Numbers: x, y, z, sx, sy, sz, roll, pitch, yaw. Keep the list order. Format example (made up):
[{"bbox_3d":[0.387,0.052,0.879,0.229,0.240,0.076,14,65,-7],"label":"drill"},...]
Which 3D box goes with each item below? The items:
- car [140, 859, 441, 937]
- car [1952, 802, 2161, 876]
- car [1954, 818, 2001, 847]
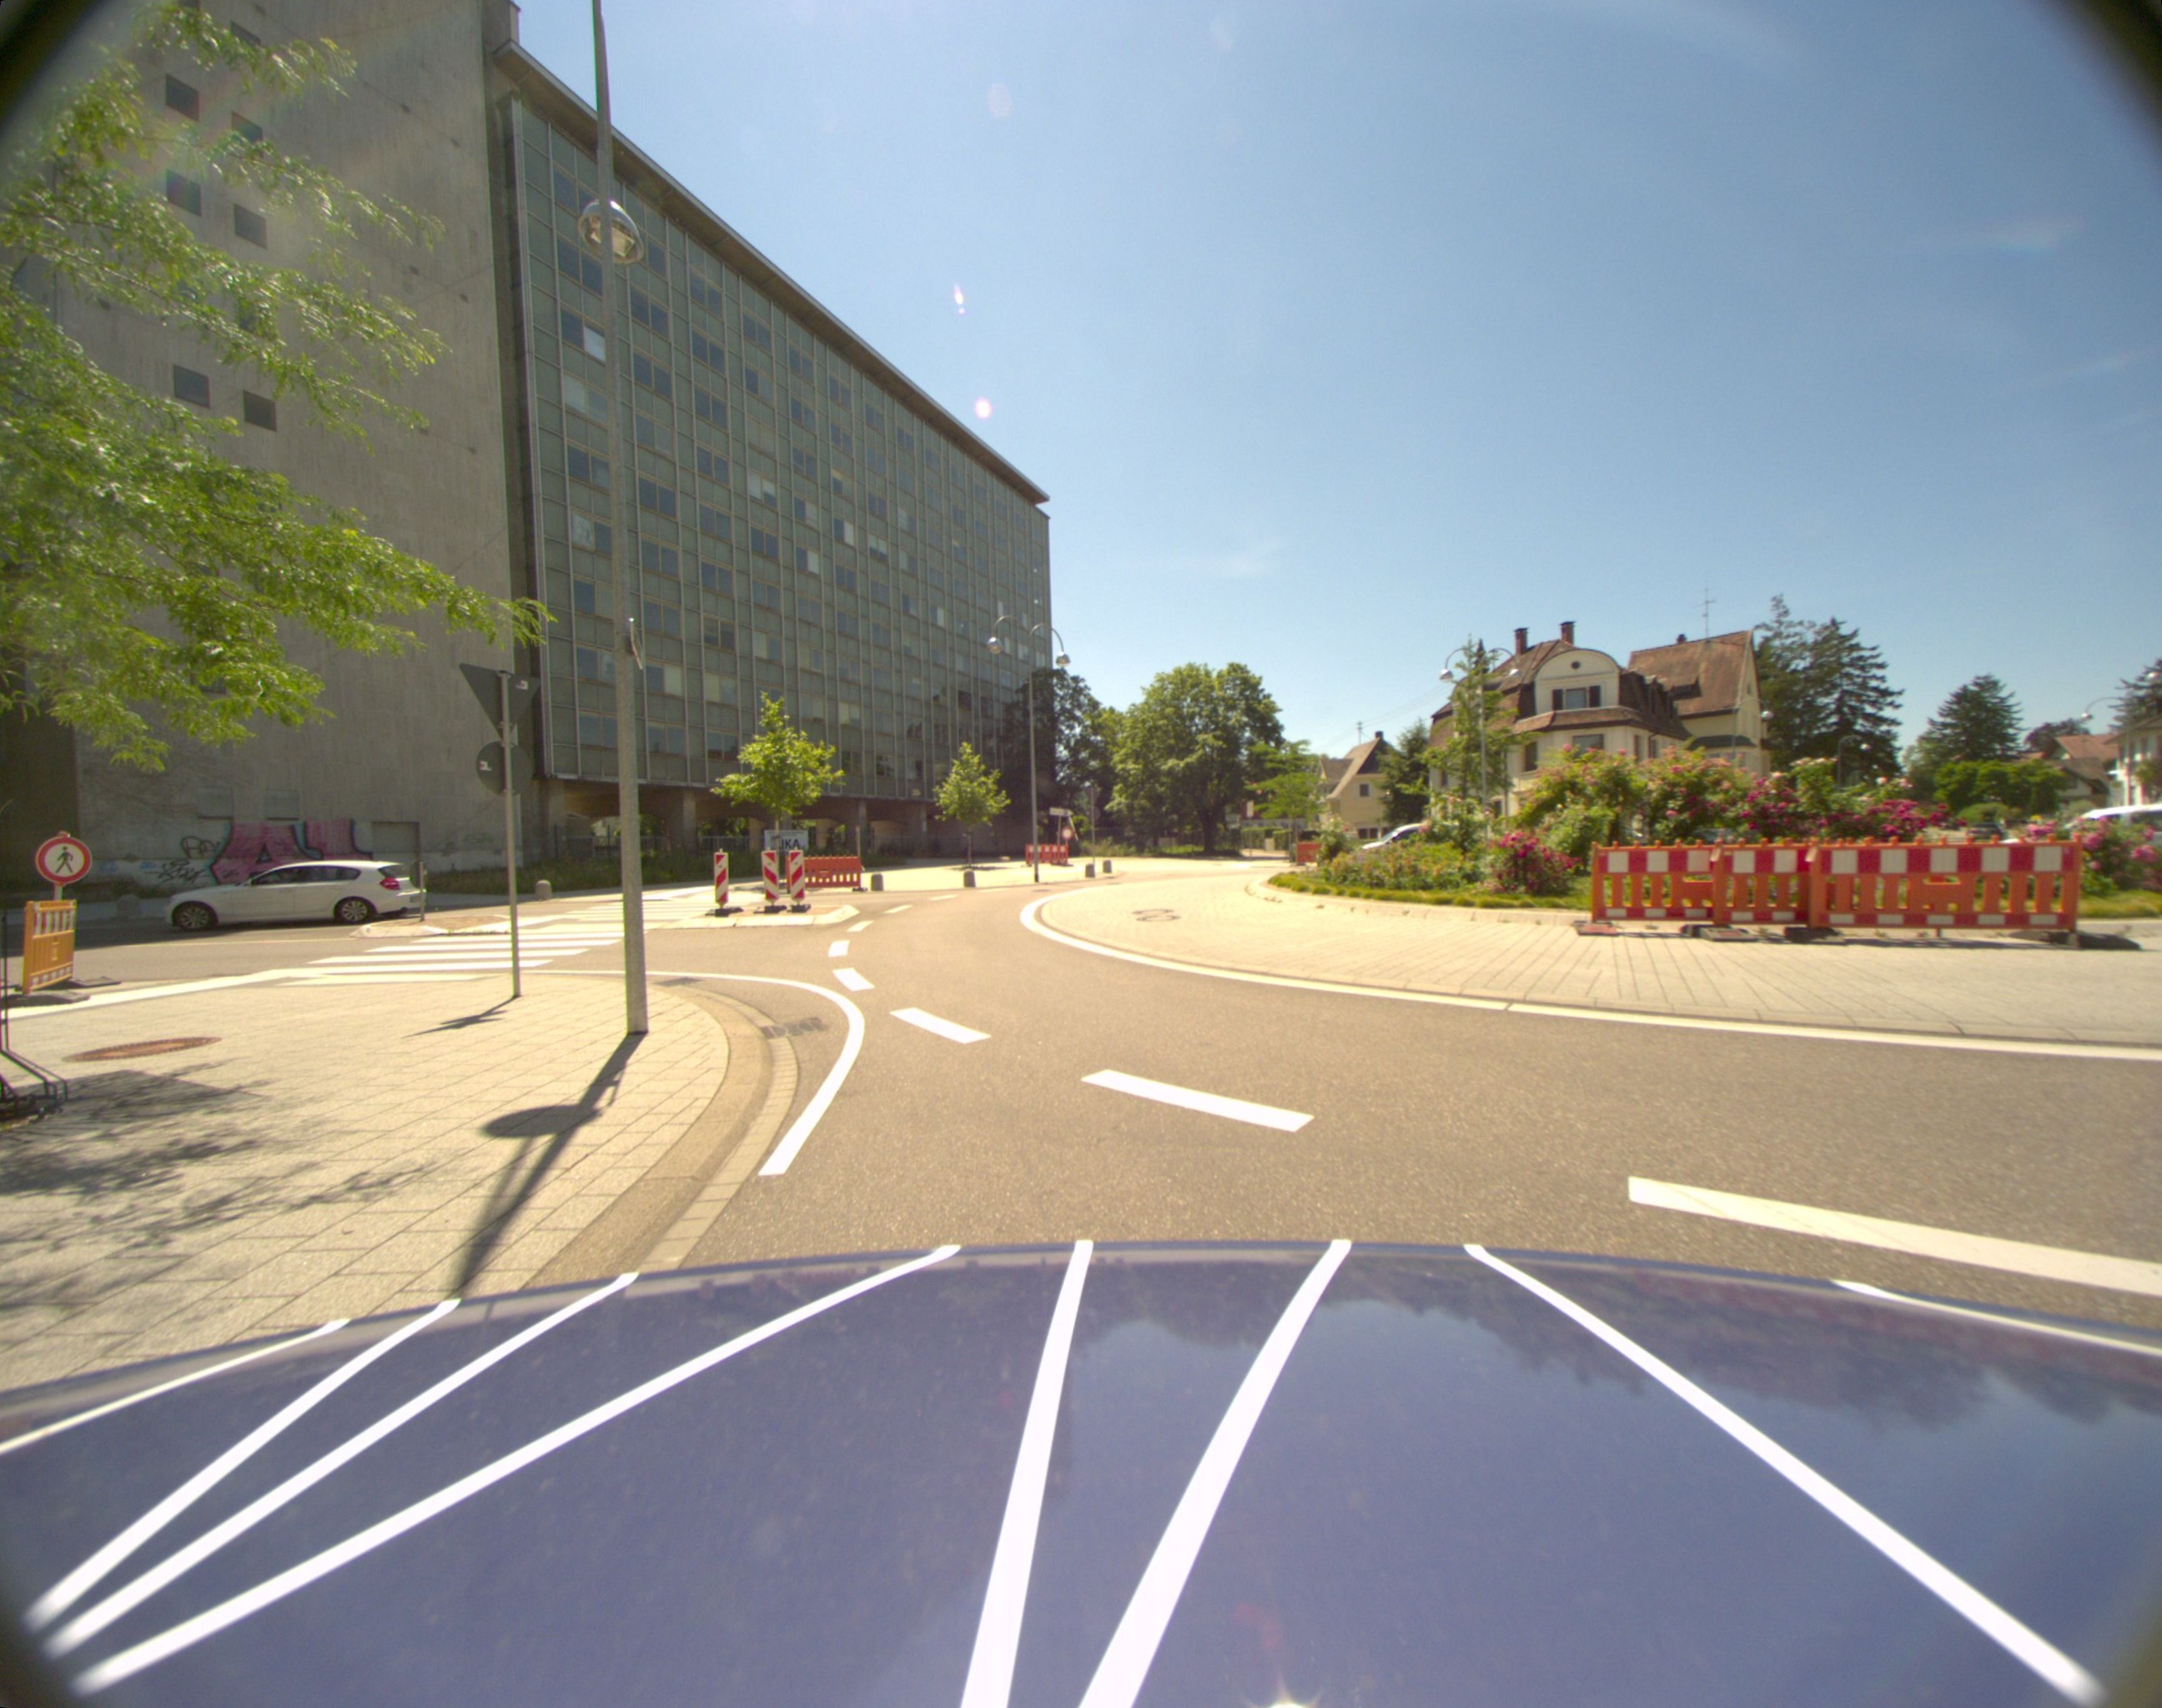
[{"bbox_3d":[-17.615,0.911,17.244,4.261,1.450,1.906,-2,2,-21],"label":"car"},{"bbox_3d":[25.713,-0.394,19.160,2.002,1.727,4.557,-2,2,-25],"label":"car"},{"bbox_3d":[65.716,-1.576,55.744,4.006,1.838,1.994,-6,4,-43],"label":"car"}]
